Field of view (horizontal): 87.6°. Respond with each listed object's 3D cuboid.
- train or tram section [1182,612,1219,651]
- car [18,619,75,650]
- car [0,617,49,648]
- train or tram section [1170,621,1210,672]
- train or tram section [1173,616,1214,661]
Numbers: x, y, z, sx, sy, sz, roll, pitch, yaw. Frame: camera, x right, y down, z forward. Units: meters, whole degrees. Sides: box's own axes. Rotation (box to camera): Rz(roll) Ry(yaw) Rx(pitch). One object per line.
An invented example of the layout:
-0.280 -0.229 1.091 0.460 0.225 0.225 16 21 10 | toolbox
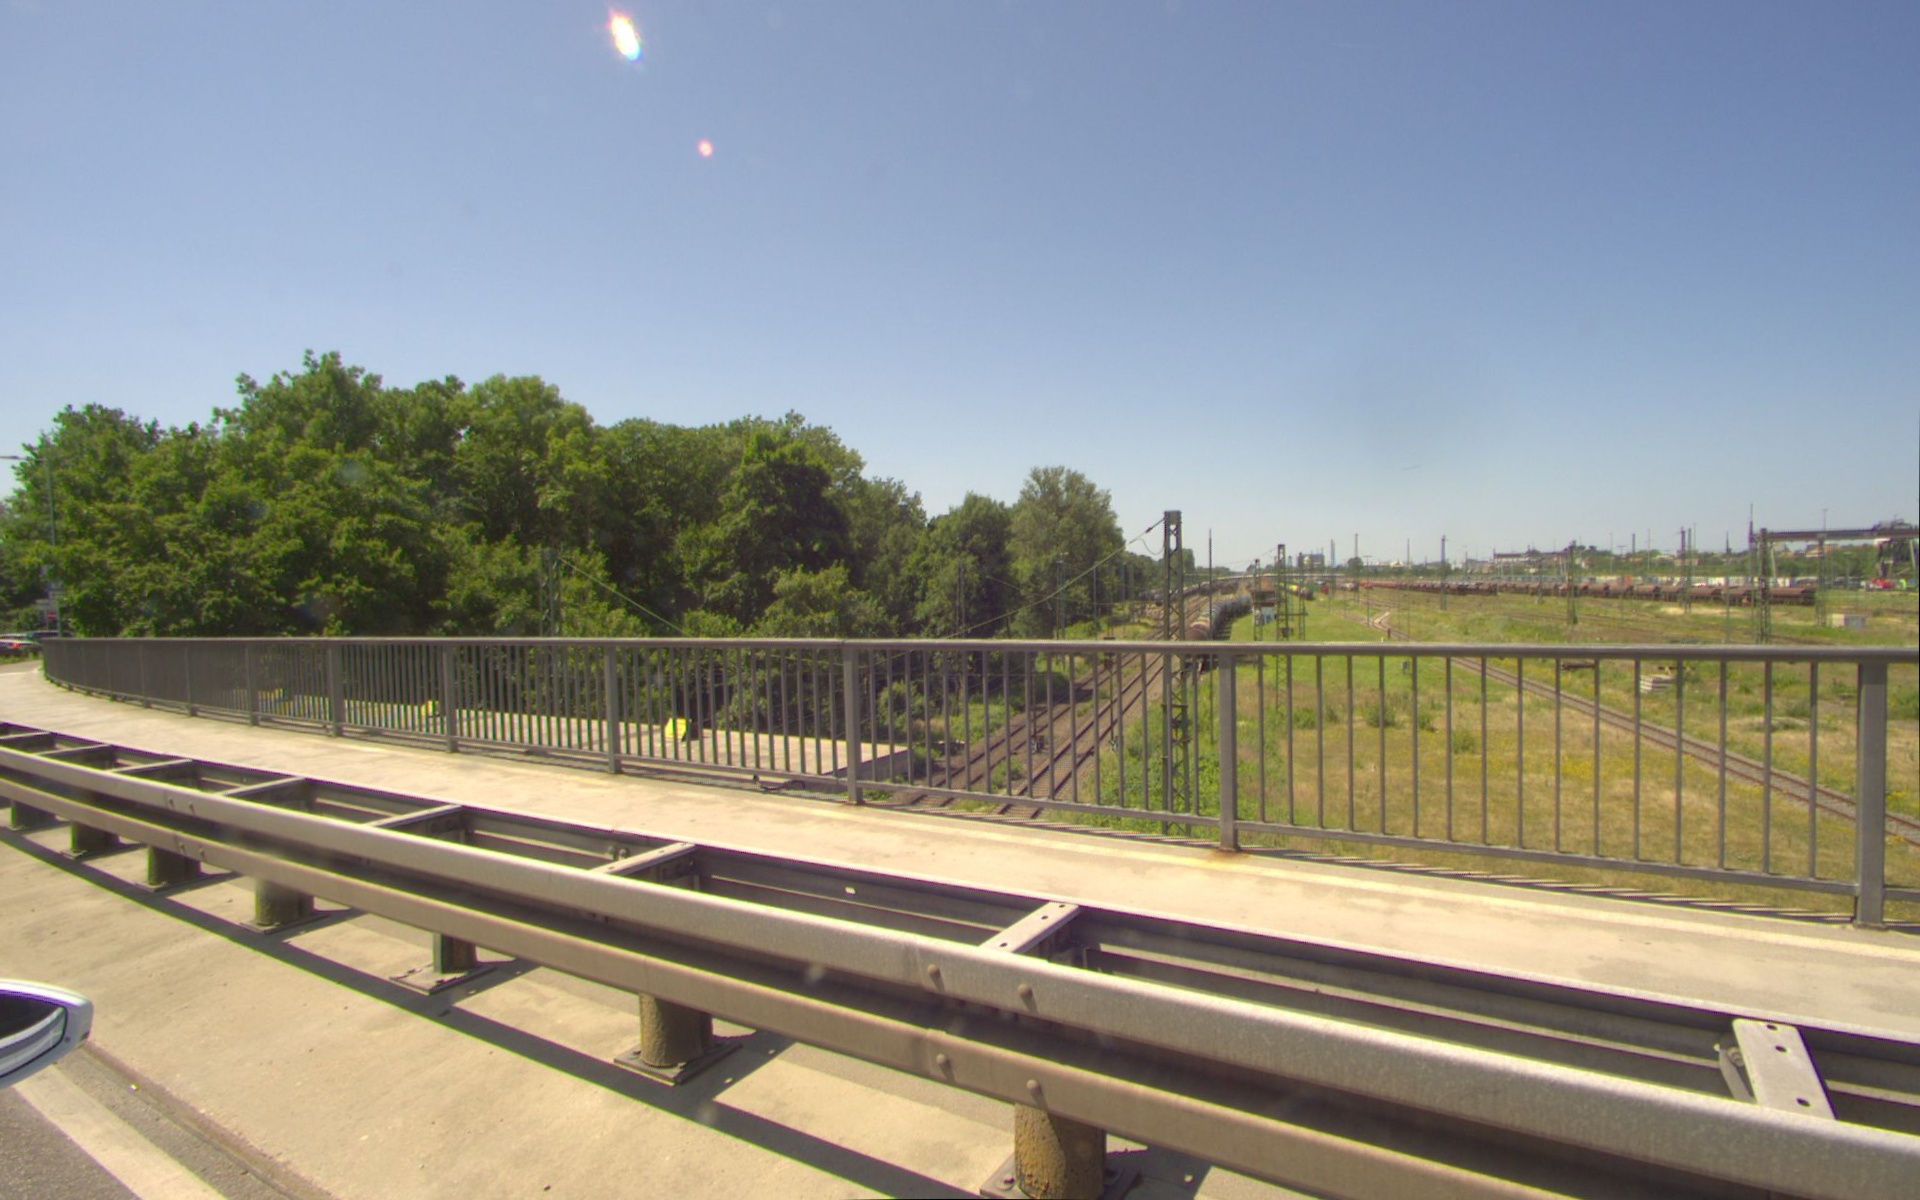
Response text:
32.076 4.056 133.153 3.783 4.366 13.603 -2 1 18 | train or tram section
-56.331 2.126 61.800 1.666 1.783 3.982 0 -2 -29 | car
-52.960 1.859 56.130 1.972 1.594 3.981 2 -4 -31 | car
24.635 4.852 106.965 3.781 4.366 13.612 -2 1 14 | train or tram section
28.184 4.462 120.147 3.783 4.366 13.605 -2 1 17 | train or tram section
